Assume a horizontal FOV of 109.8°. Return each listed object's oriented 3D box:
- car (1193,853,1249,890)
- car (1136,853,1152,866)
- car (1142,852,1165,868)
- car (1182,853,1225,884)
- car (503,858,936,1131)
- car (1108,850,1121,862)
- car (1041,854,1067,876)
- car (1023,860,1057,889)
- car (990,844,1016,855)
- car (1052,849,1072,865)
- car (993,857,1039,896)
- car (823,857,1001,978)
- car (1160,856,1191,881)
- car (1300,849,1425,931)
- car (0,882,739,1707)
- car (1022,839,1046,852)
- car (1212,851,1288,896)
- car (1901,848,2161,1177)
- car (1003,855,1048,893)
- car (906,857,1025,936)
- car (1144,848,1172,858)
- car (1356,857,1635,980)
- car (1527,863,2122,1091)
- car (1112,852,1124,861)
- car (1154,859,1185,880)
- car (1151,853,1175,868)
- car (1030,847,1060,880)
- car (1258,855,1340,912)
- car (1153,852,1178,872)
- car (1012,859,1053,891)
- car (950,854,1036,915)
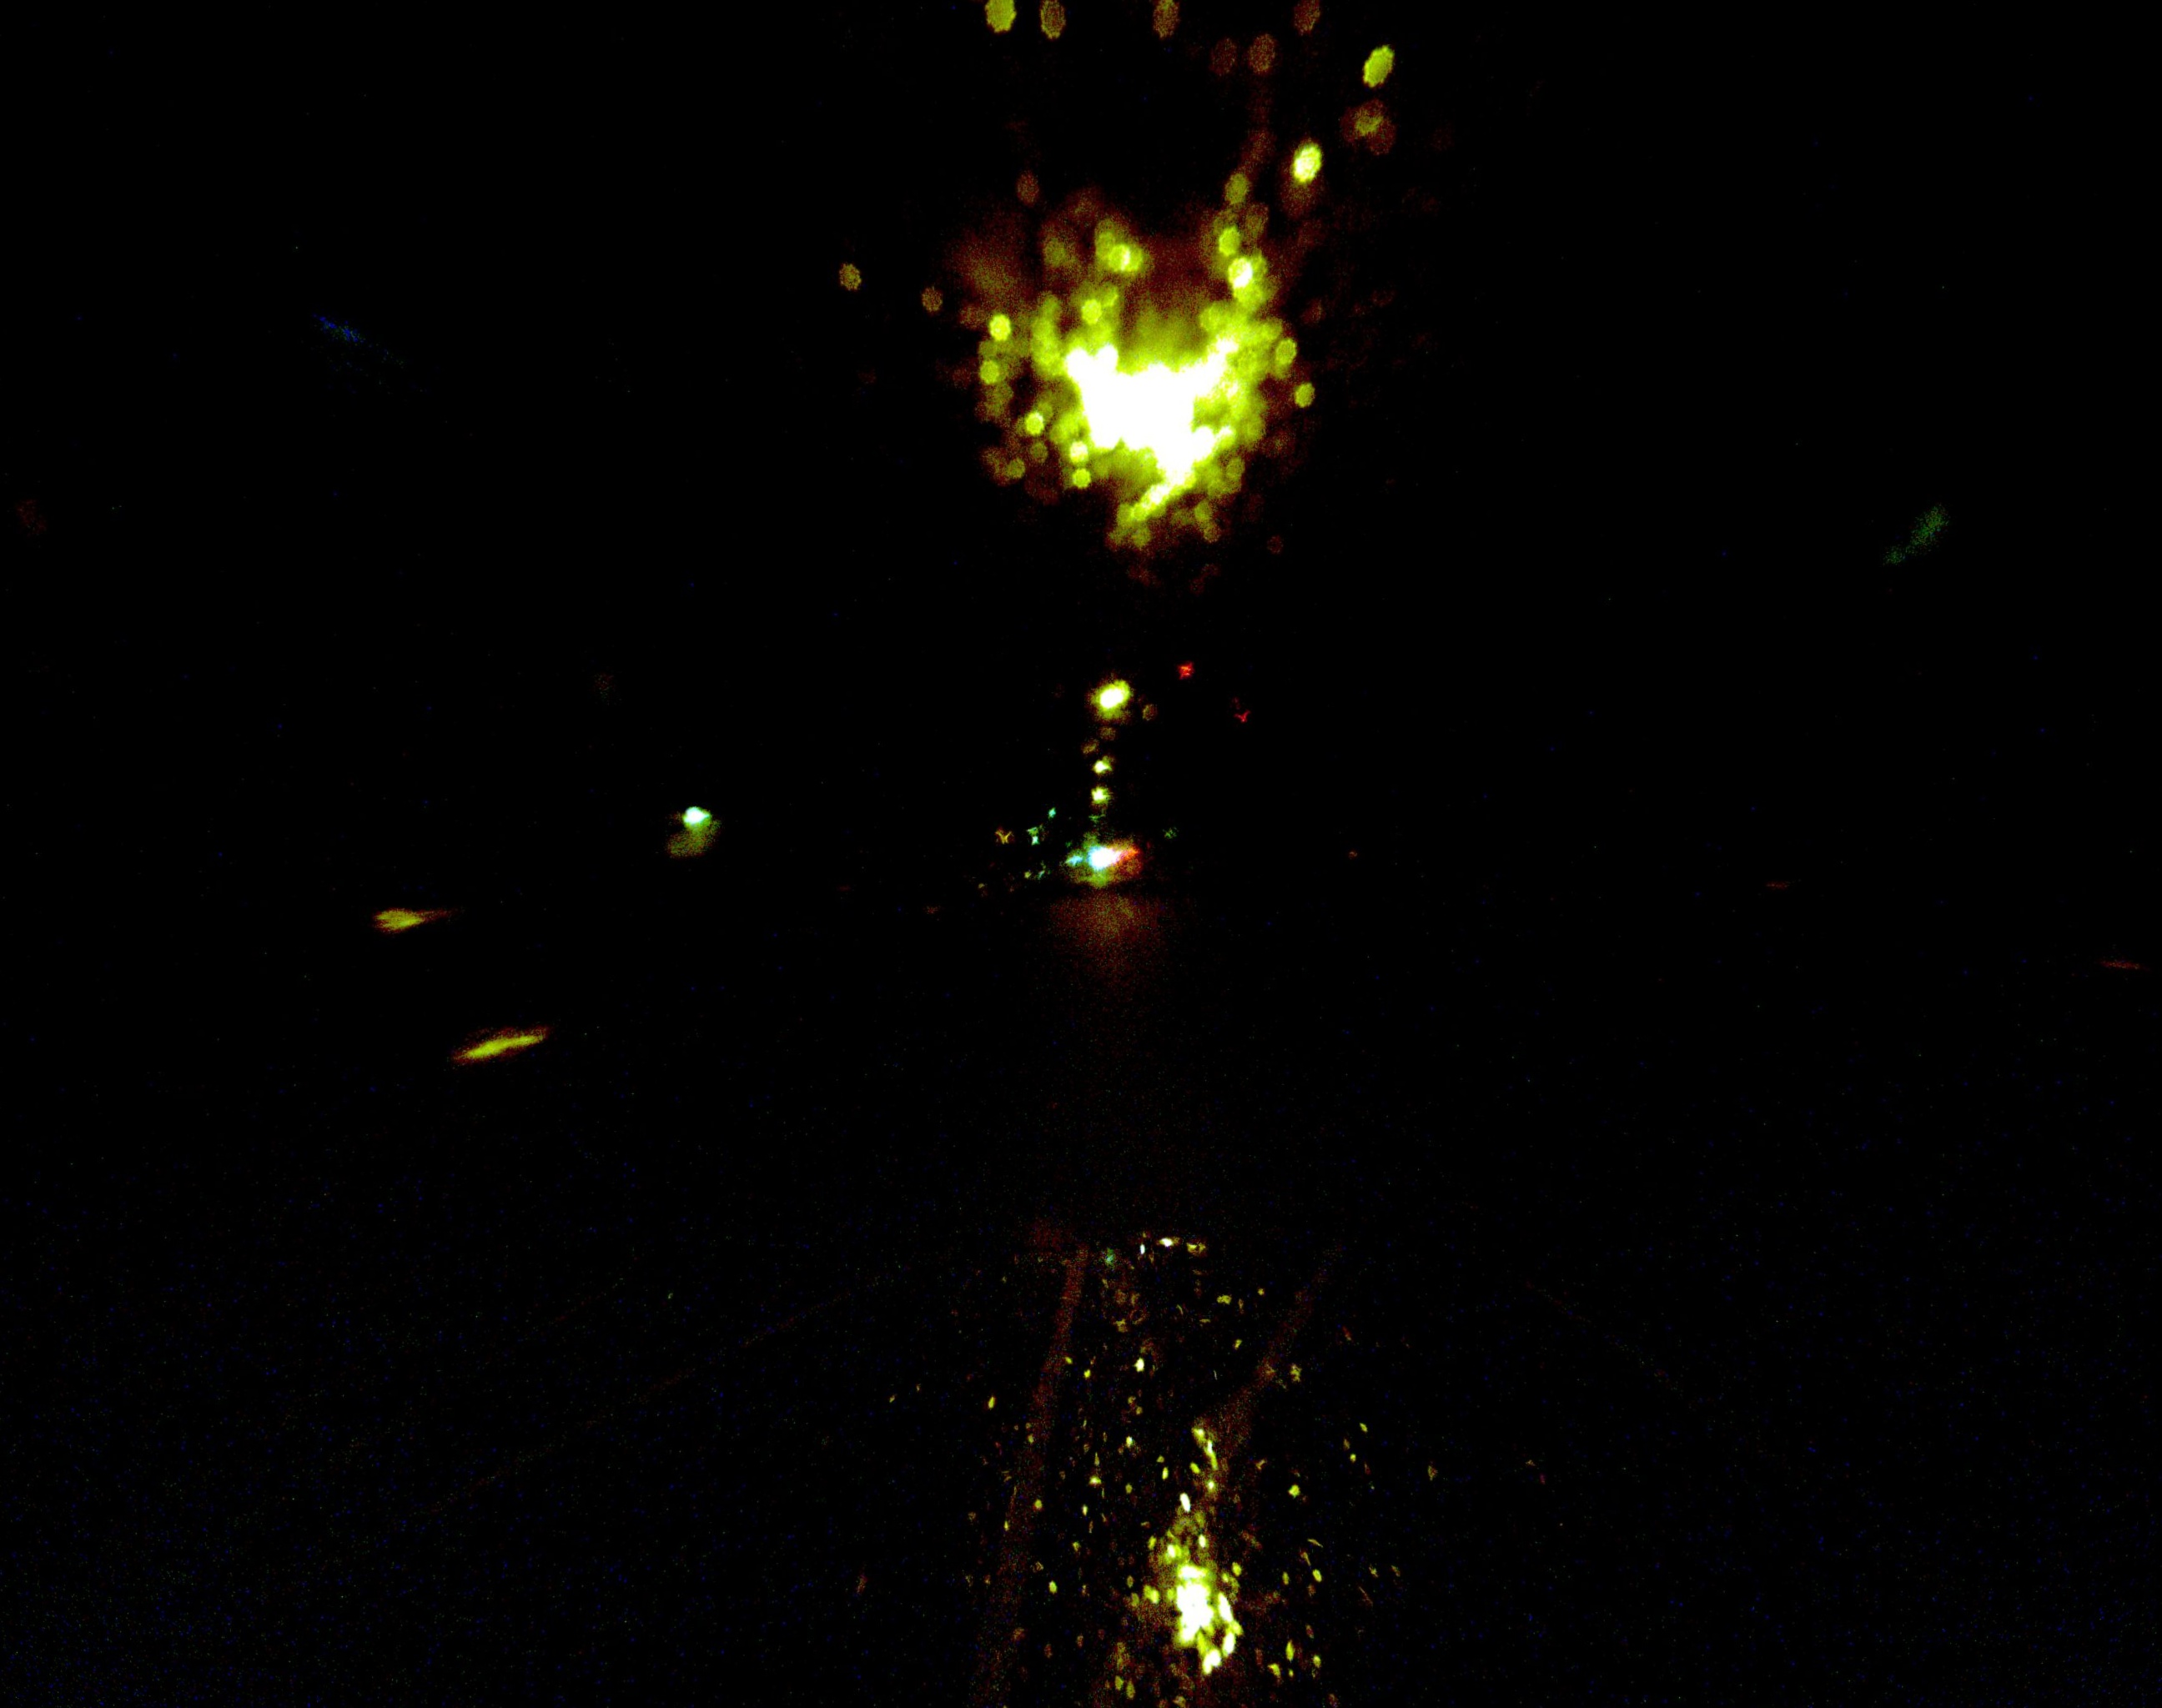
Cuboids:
[{"bbox_3d":[6.557,0.779,36.015,1.670,1.531,4.390,3,0,-1],"label":"car"},{"bbox_3d":[7.294,0.602,87.733,1.627,1.464,3.963,1,0,2],"label":"car"},{"bbox_3d":[7.035,0.565,73.992,1.799,1.464,4.396,1,0,1],"label":"car"},{"bbox_3d":[6.590,0.739,41.261,1.670,1.531,4.391,3,0,1],"label":"car"},{"bbox_3d":[-2.694,0.897,7.009,1.827,1.628,4.488,1,0,0],"label":"car"},{"bbox_3d":[4.670,0.307,104.967,1.710,1.531,4.371,1,0,2],"label":"car"},{"bbox_3d":[-2.107,0.836,59.529,1.872,1.570,4.746,1,0,-2],"label":"car"},{"bbox_3d":[-2.289,1.138,43.087,1.800,1.483,4.128,1,0,-2],"label":"car"},{"bbox_3d":[-11.306,-0.609,110.295,3.663,1.448,1.666,1,0,1],"label":"car"},{"bbox_3d":[-1.776,0.295,71.989,1.800,1.464,3.950,1,0,-2],"label":"car"},{"bbox_3d":[-2.358,0.778,28.257,1.460,1.298,3.628,1,0,-1],"label":"car"},{"bbox_3d":[-2.513,0.861,12.649,1.804,1.521,5.051,1,0,0],"label":"car"},{"bbox_3d":[6.467,0.972,52.458,1.669,1.531,4.391,1,0,2],"label":"car"},{"bbox_3d":[6.301,0.729,17.366,1.478,1.610,3.373,3,0,-1],"label":"car"},{"bbox_3d":[-2.659,0.881,1.598,1.827,1.413,4.488,1,0,0],"label":"car"},{"bbox_3d":[-8.371,-1.468,135.525,4.022,2.156,1.802,2,1,7],"label":"car"},{"bbox_3d":[6.734,0.733,30.730,1.751,1.588,4.389,3,0,-4],"label":"car"},{"bbox_3d":[6.052,0.815,2.713,1.602,1.596,4.258,3,0,1],"label":"car"},{"bbox_3d":[-2.356,0.812,33.150,1.679,1.479,4.279,1,0,-1],"label":"car"},{"bbox_3d":[-2.512,0.869,17.615,1.829,1.539,4.353,2,0,3],"label":"car"},{"bbox_3d":[13.020,-0.153,128.252,4.539,1.696,1.853,2,0,15],"label":"car"},{"bbox_3d":[6.196,0.832,12.186,1.641,1.448,4.932,3,0,-1],"label":"car"},{"bbox_3d":[6.275,0.871,7.212,1.602,1.423,4.004,3,0,-1],"label":"car"},{"bbox_3d":[6.154,0.447,127.164,2.044,1.539,4.683,0,0,2],"label":"car"},{"bbox_3d":[6.648,1.142,57.437,1.624,1.410,4.674,1,0,-2],"label":"car"},{"bbox_3d":[7.365,0.549,68.502,1.843,1.261,4.638,1,0,3],"label":"car"},{"bbox_3d":[-2.277,0.534,48.726,1.800,1.939,5.852,1,0,-2],"label":"car"},{"bbox_3d":[6.279,0.804,22.190,1.435,1.452,3.374,3,0,2],"label":"car"},{"bbox_3d":[6.999,0.633,63.559,1.710,1.531,4.059,3,0,2],"label":"car"},{"bbox_3d":[-2.360,0.997,37.638,1.800,1.439,4.279,1,0,-1],"label":"car"},{"bbox_3d":[-2.461,0.796,22.394,1.758,1.539,4.978,2,0,2],"label":"car"}]
